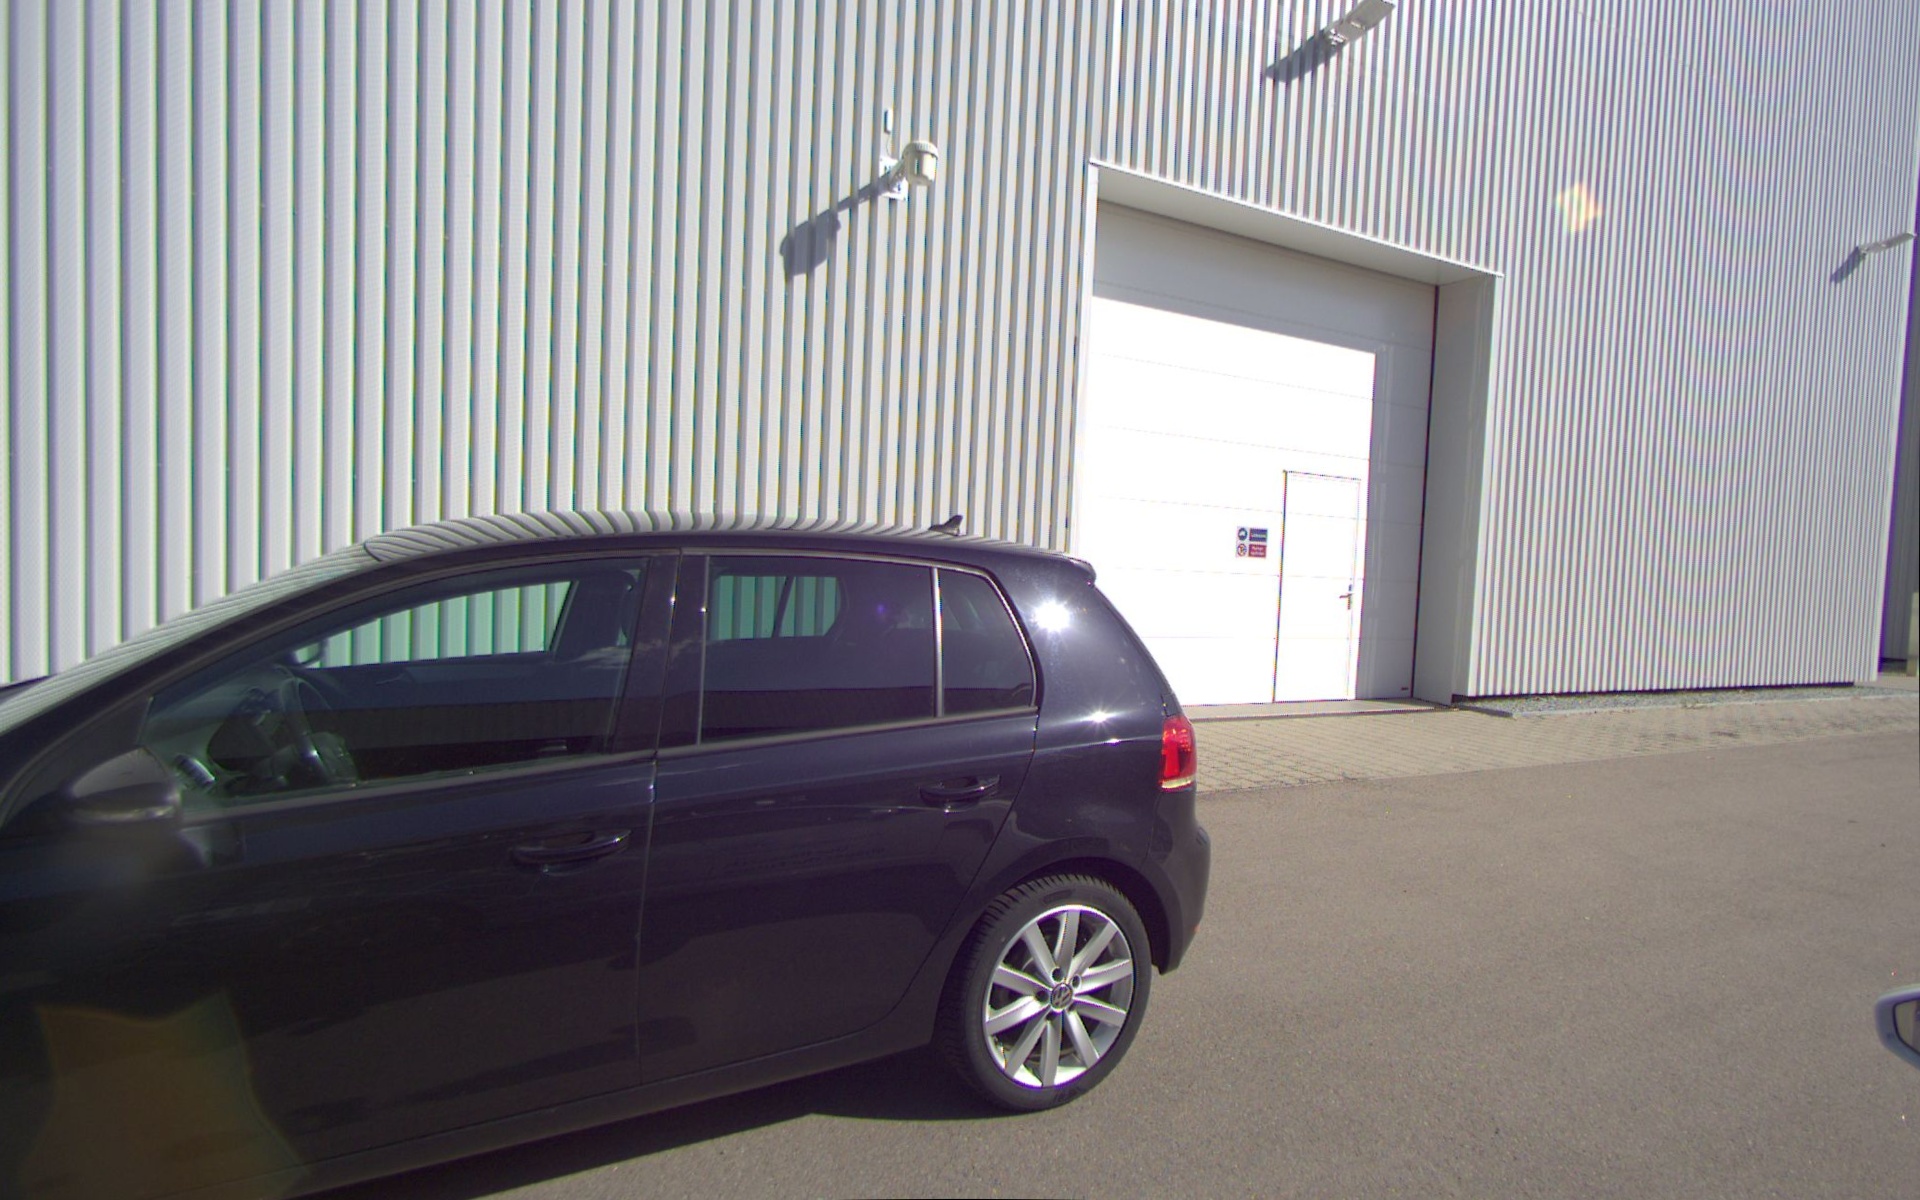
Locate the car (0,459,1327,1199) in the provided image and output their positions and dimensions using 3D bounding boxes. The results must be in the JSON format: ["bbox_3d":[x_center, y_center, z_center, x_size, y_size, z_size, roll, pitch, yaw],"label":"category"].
[{"bbox_3d":[-1.283,0.487,2.630,4.239,1.520,1.747,1,4,-28],"label":"car"}]
